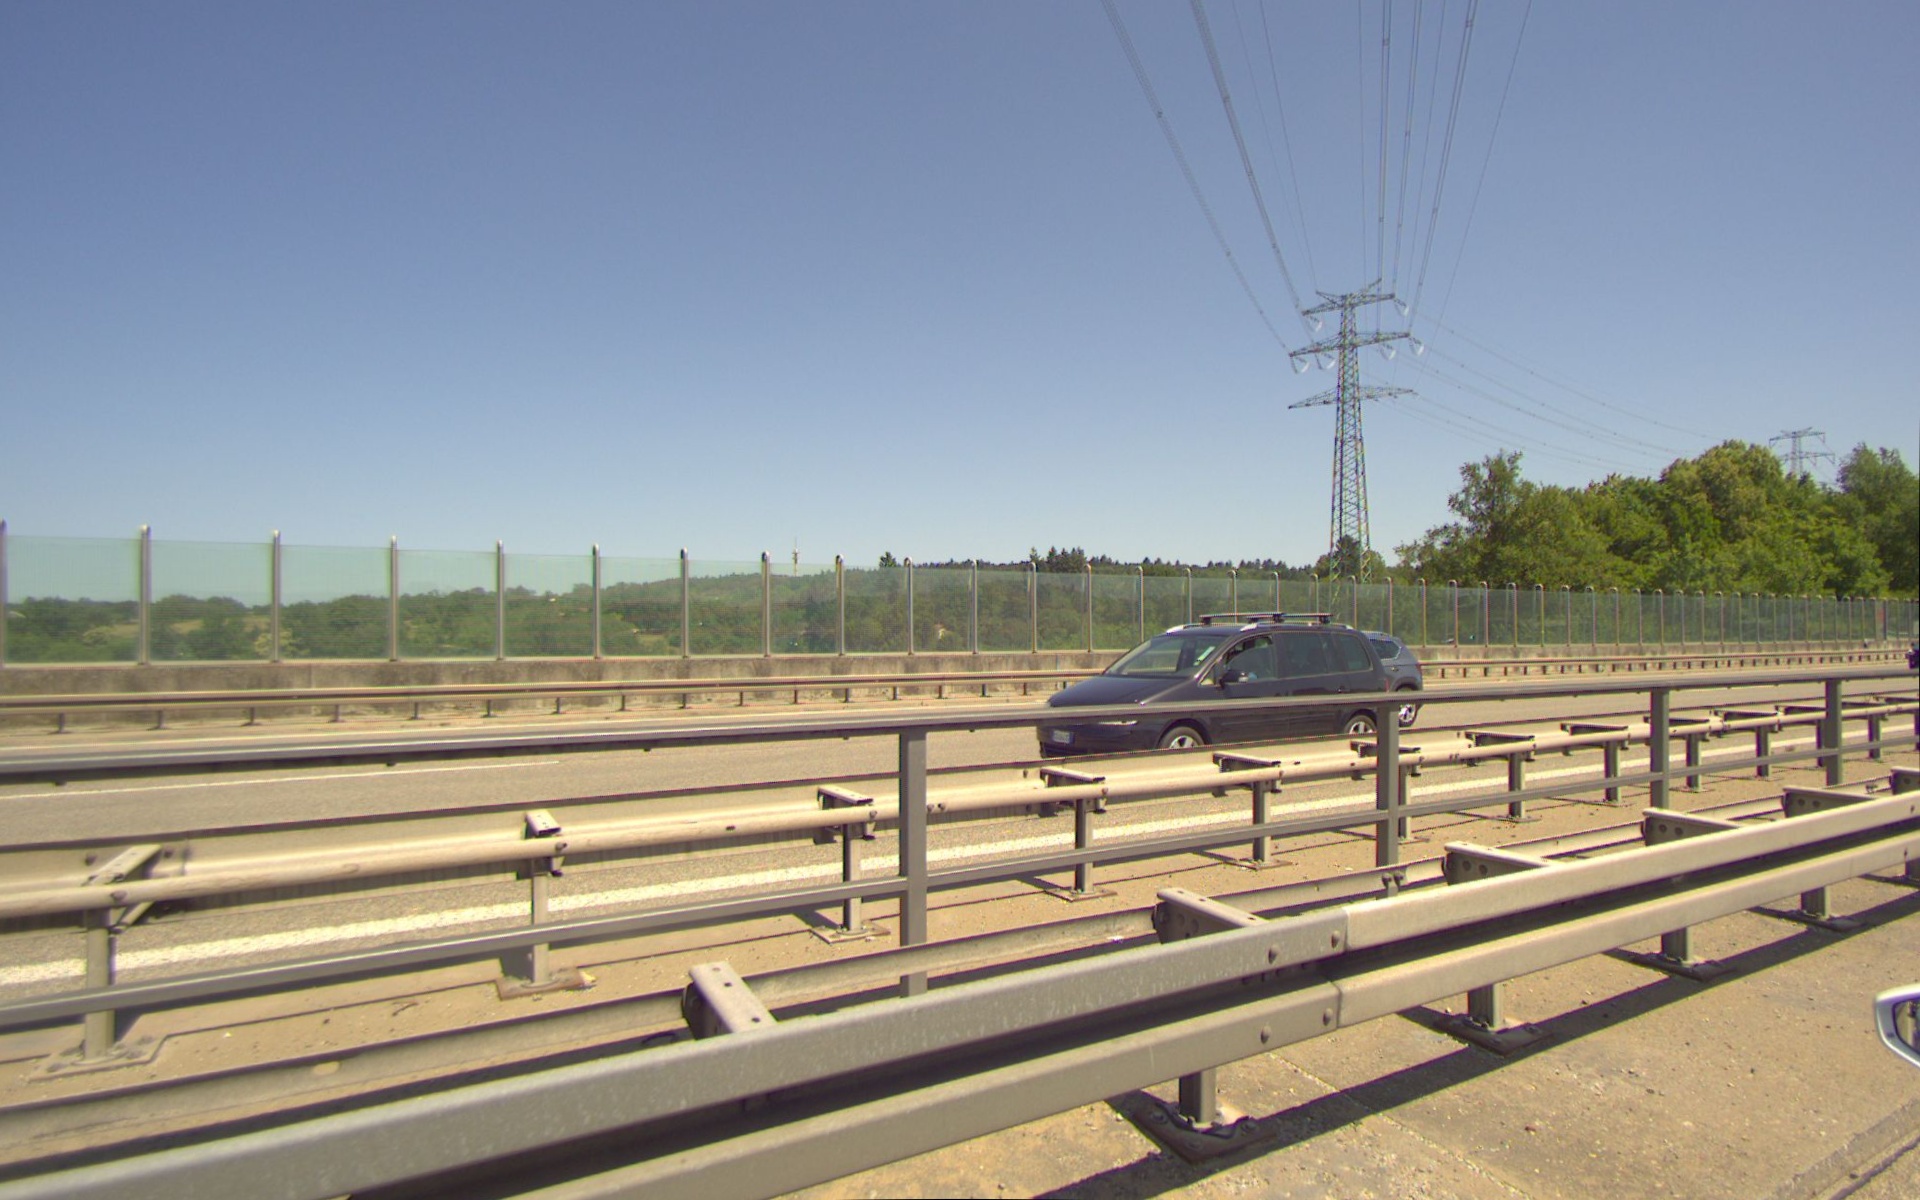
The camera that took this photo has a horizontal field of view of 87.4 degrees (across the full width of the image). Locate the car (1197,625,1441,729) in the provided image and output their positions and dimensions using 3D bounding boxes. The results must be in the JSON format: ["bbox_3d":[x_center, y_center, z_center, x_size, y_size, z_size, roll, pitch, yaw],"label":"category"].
[{"bbox_3d":[6.069,1.251,16.891,3.953,1.567,1.746,2,-3,-31],"label":"car"}]

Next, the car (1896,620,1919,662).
[{"bbox_3d":[43.765,1.813,44.824,4.252,1.808,1.774,1,-2,-31],"label":"car"}]

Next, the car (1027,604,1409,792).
[{"bbox_3d":[2.897,0.963,11.094,4.053,1.743,1.746,1,-2,-31],"label":"car"}]
